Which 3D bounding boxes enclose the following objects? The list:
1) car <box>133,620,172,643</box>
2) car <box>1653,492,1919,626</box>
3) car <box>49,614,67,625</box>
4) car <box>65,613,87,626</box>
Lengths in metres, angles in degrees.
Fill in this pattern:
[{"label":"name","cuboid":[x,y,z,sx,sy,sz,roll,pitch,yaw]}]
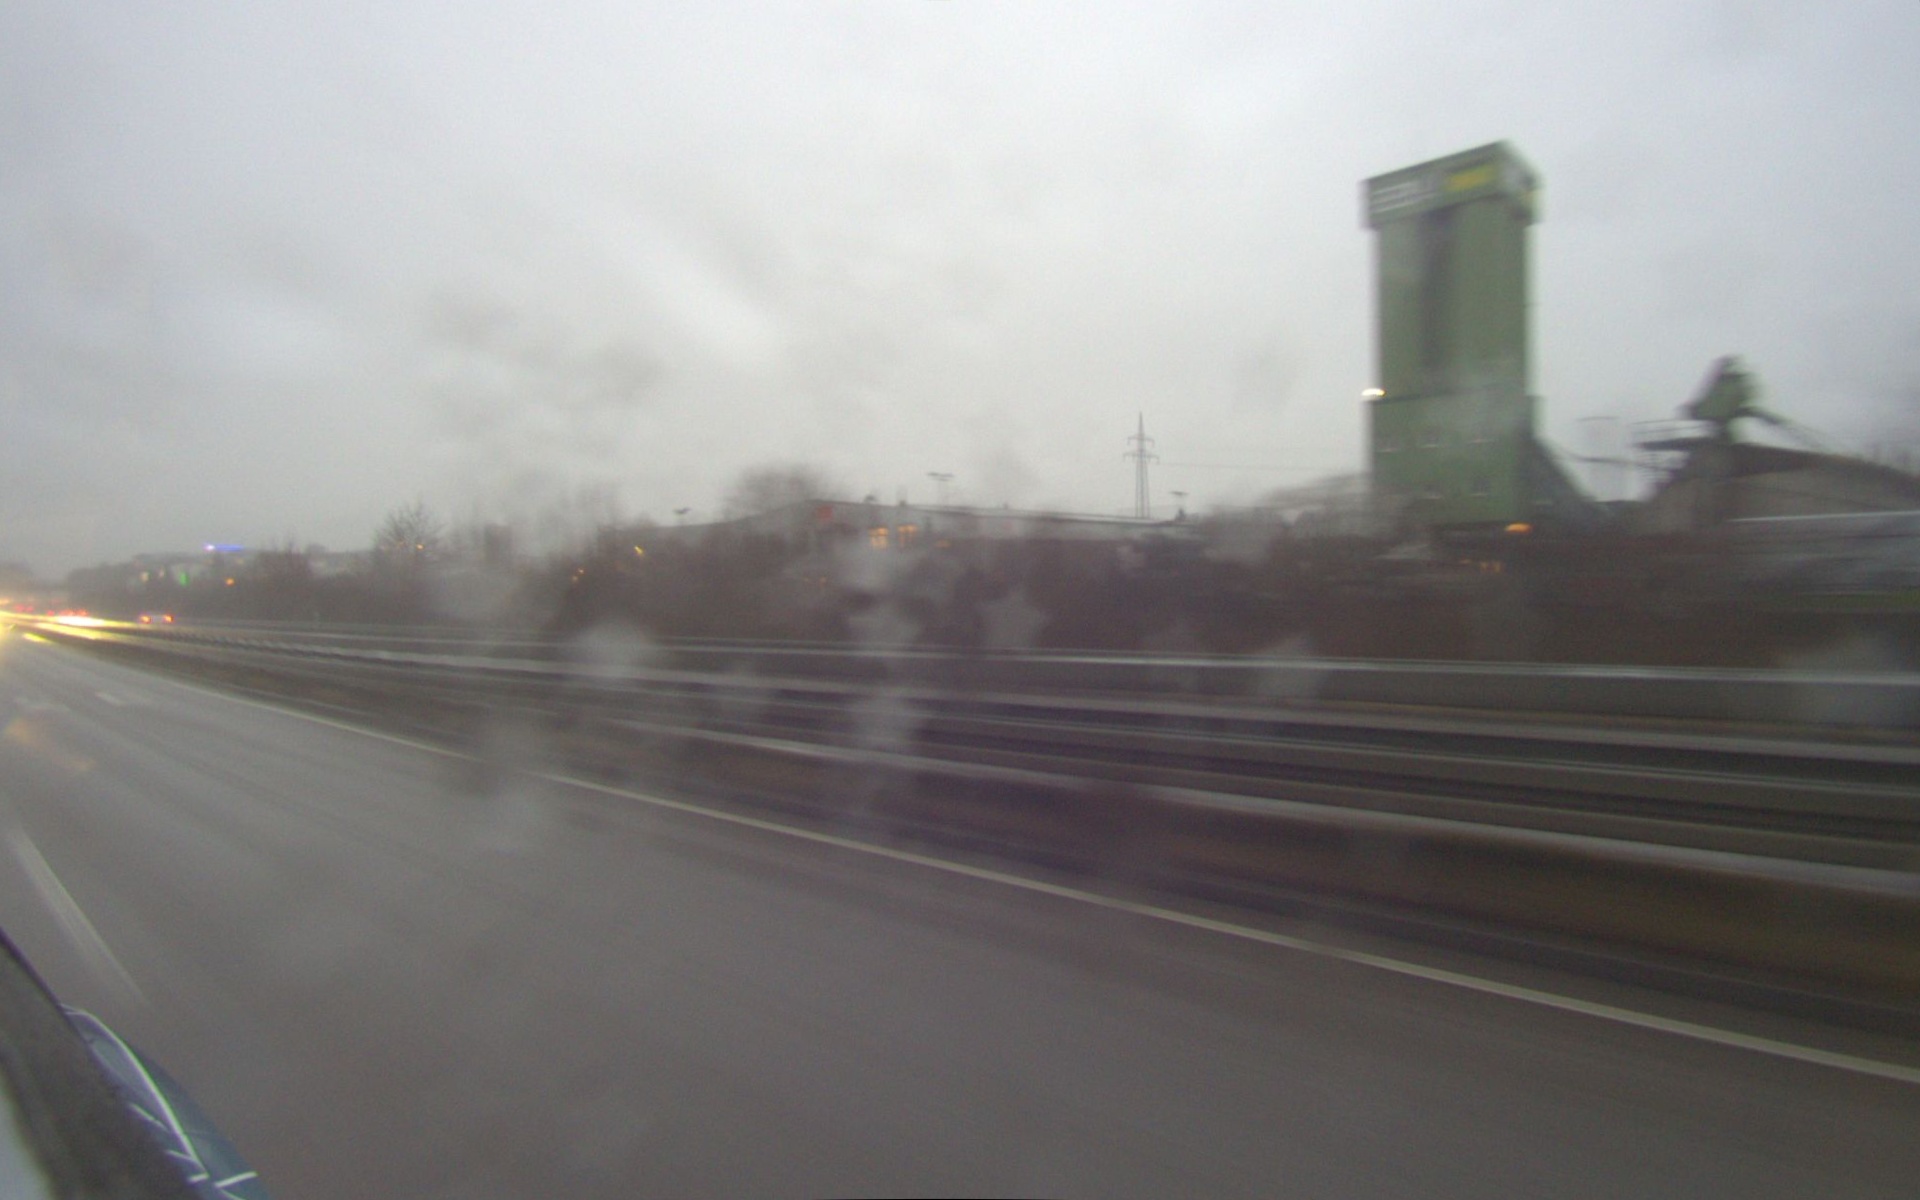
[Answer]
[{"label":"car","cuboid":[-59.994,2.335,75.139,4.528,1.639,1.743,-1,-2,45]},{"label":"car","cuboid":[24.240,-0.978,26.196,3.155,3.235,9.947,1,-2,-44]},{"label":"car","cuboid":[-126.347,2.683,141.789,1.684,1.486,4.368,0,0,-45]},{"label":"car","cuboid":[-106.915,2.357,122.352,1.684,1.486,4.368,0,0,-45]}]
